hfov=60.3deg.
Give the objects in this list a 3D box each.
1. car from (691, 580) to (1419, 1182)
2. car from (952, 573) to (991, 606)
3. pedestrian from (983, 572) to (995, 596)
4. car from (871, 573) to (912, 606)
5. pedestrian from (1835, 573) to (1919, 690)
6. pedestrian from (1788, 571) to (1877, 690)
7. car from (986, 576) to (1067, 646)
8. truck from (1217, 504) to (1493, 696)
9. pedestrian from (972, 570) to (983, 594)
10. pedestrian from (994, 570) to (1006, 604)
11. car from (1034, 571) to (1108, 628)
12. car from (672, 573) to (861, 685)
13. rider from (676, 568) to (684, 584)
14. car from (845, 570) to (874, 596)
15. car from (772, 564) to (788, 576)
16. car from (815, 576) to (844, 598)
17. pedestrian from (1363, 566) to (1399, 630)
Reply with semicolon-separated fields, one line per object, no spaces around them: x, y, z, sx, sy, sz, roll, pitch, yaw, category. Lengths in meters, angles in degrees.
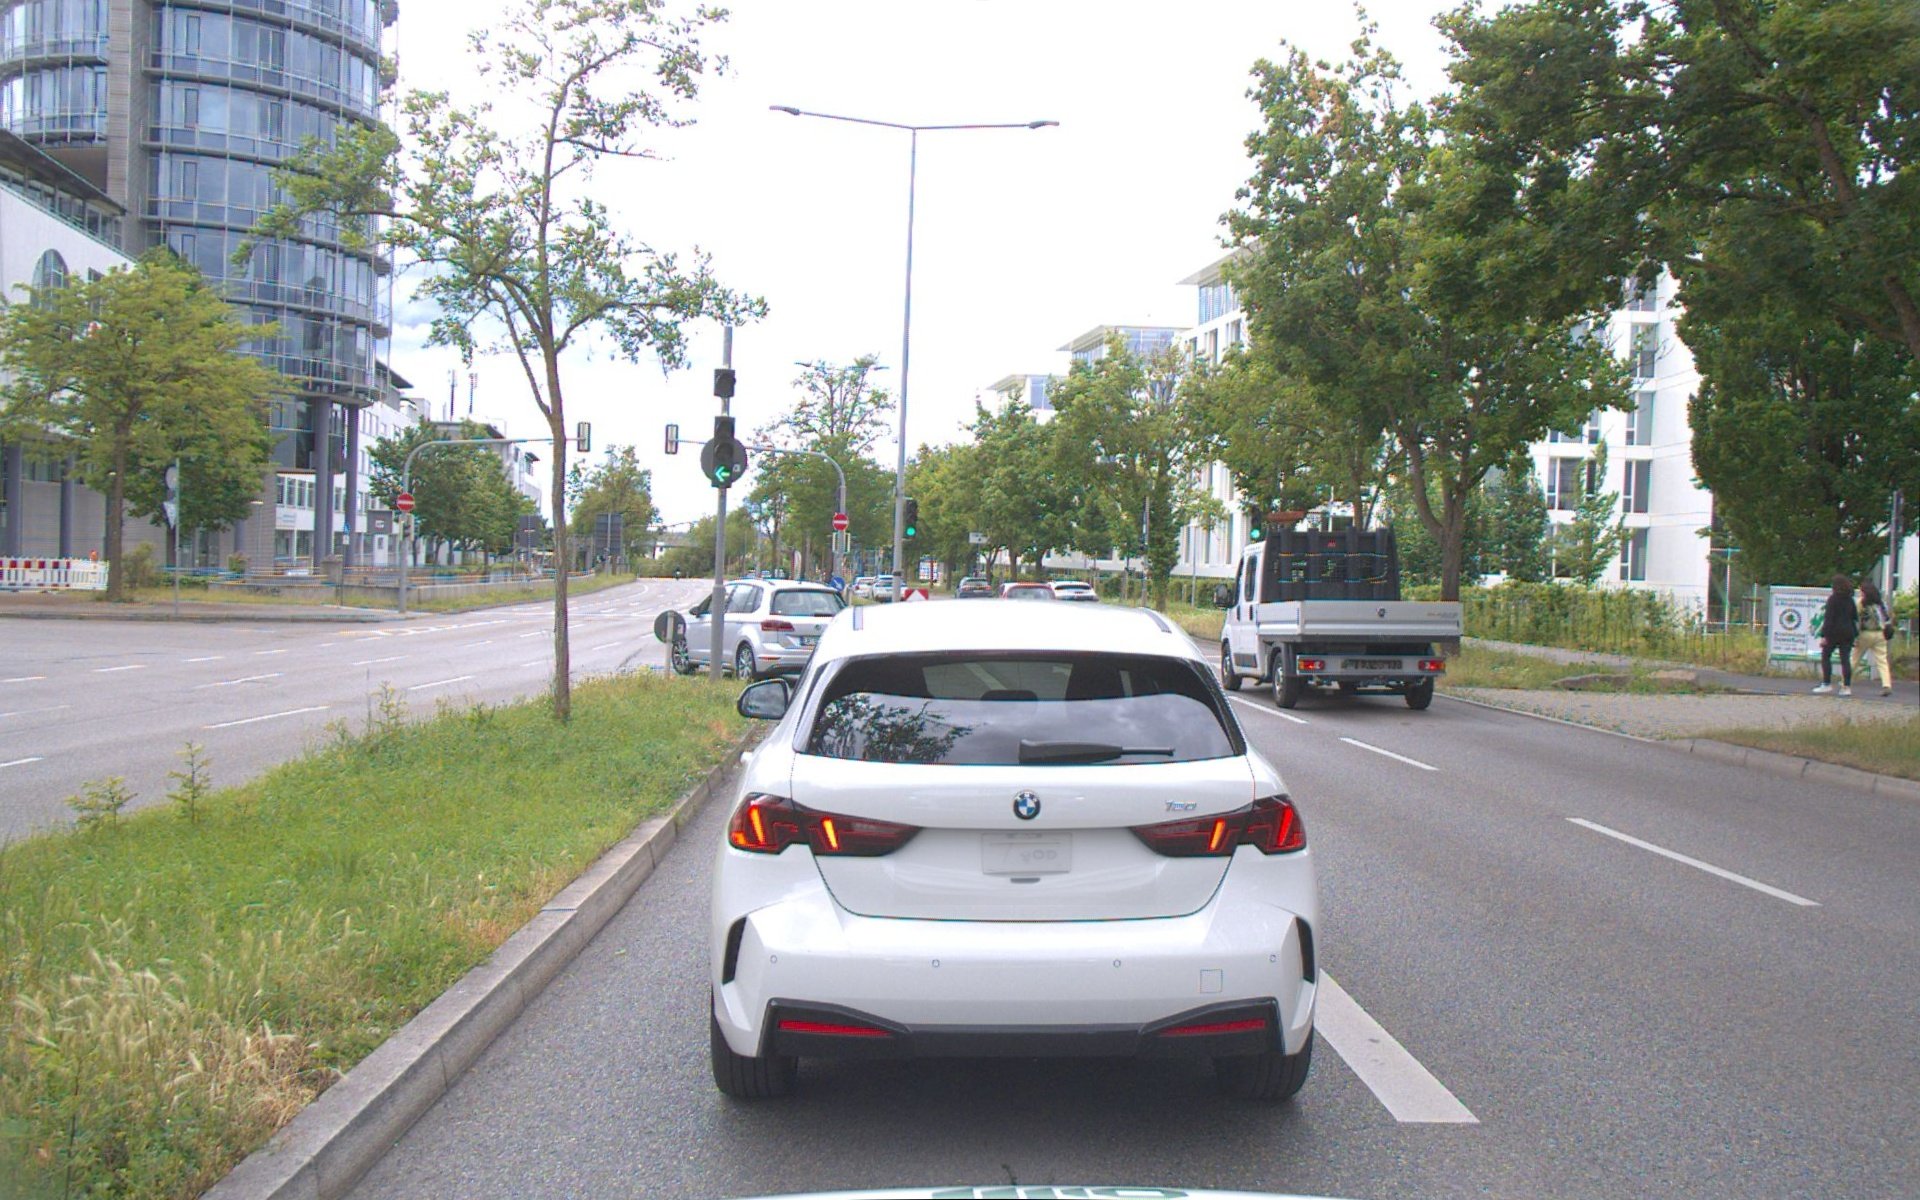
0.215;0.686;6.128;1.785;1.463;3.999;1;0;-1;car
0.549;-0.521;85.022;1.625;1.539;3.995;1;-1;-5;car
2.429;-1.367;139.574;0.835;2.049;0.603;1;0;-16;pedestrian
-3.517;-0.556;84.253;1.819;1.623;4.308;0;0;-6;car
13.591;0.451;24.513;0.762;1.689;0.952;1;0;5;pedestrian
12.823;0.435;24.337;0.779;1.689;1.060;1;0;5;pedestrian
1.534;0.235;39.161;1.681;1.585;3.857;0;0;-1;car
5.135;-0.025;22.501;2.167;2.242;5.842;1;0;-2;truck
1.508;-1.541;141.634;0.749;2.049;0.751;1;0;-16;pedestrian
3.132;-1.032;129.524;0.814;2.672;0.646;1;0;-1;pedestrian
3.258;-0.033;49.188;1.682;1.583;4.087;1;0;-4;car
-3.120;0.400;25.991;1.533;1.596;3.961;1;1;-29;car
-32.856;-2.831;194.230;0.829;1.802;0.807;1;0;-4;rider
-5.987;-0.995;98.072;1.574;1.494;3.671;1;1;-6;car
-25.963;-4.290;238.623;1.957;1.699;3.991;0;0;-10;car
-9.819;-0.993;123.945;1.856;1.623;4.305;1;0;-8;car
10.833;-0.052;42.606;0.726;1.601;0.674;1;0;-2;pedestrian
